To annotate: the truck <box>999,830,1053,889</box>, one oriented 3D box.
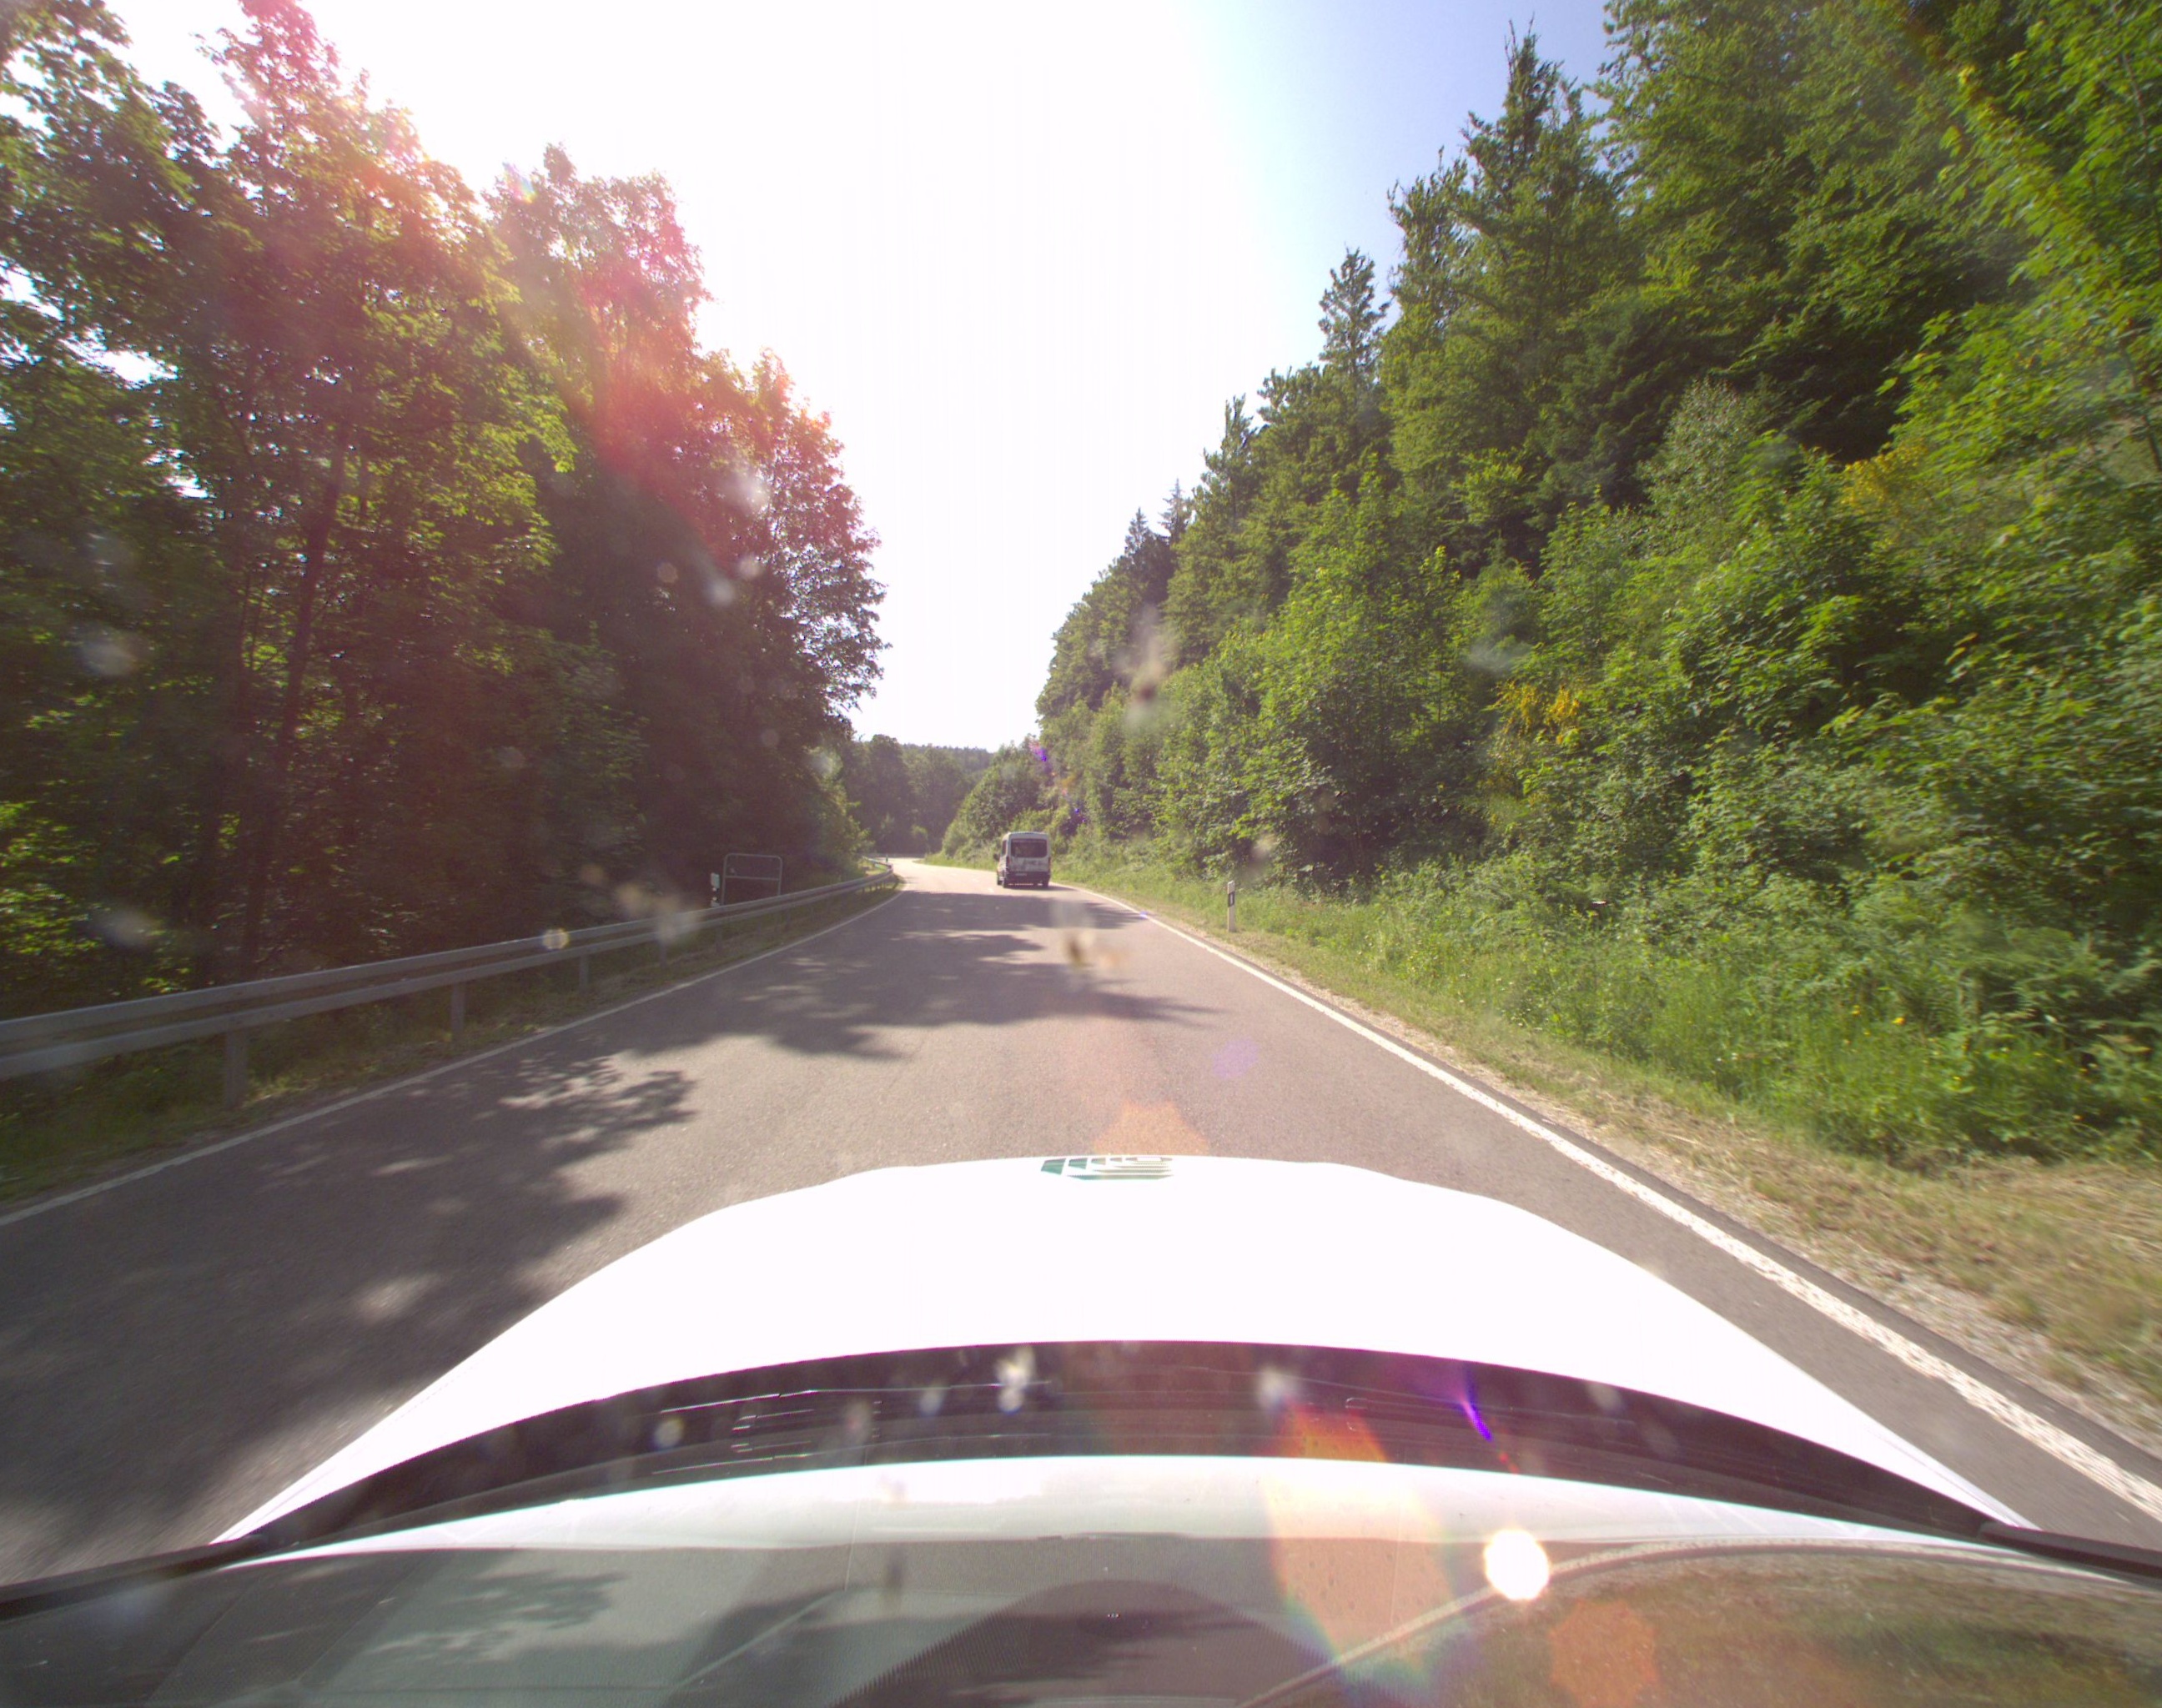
[{"bbox_3d":[-2.618,0.232,37.553,2.114,2.498,5.344,0,0,-8],"label":"truck"}]
